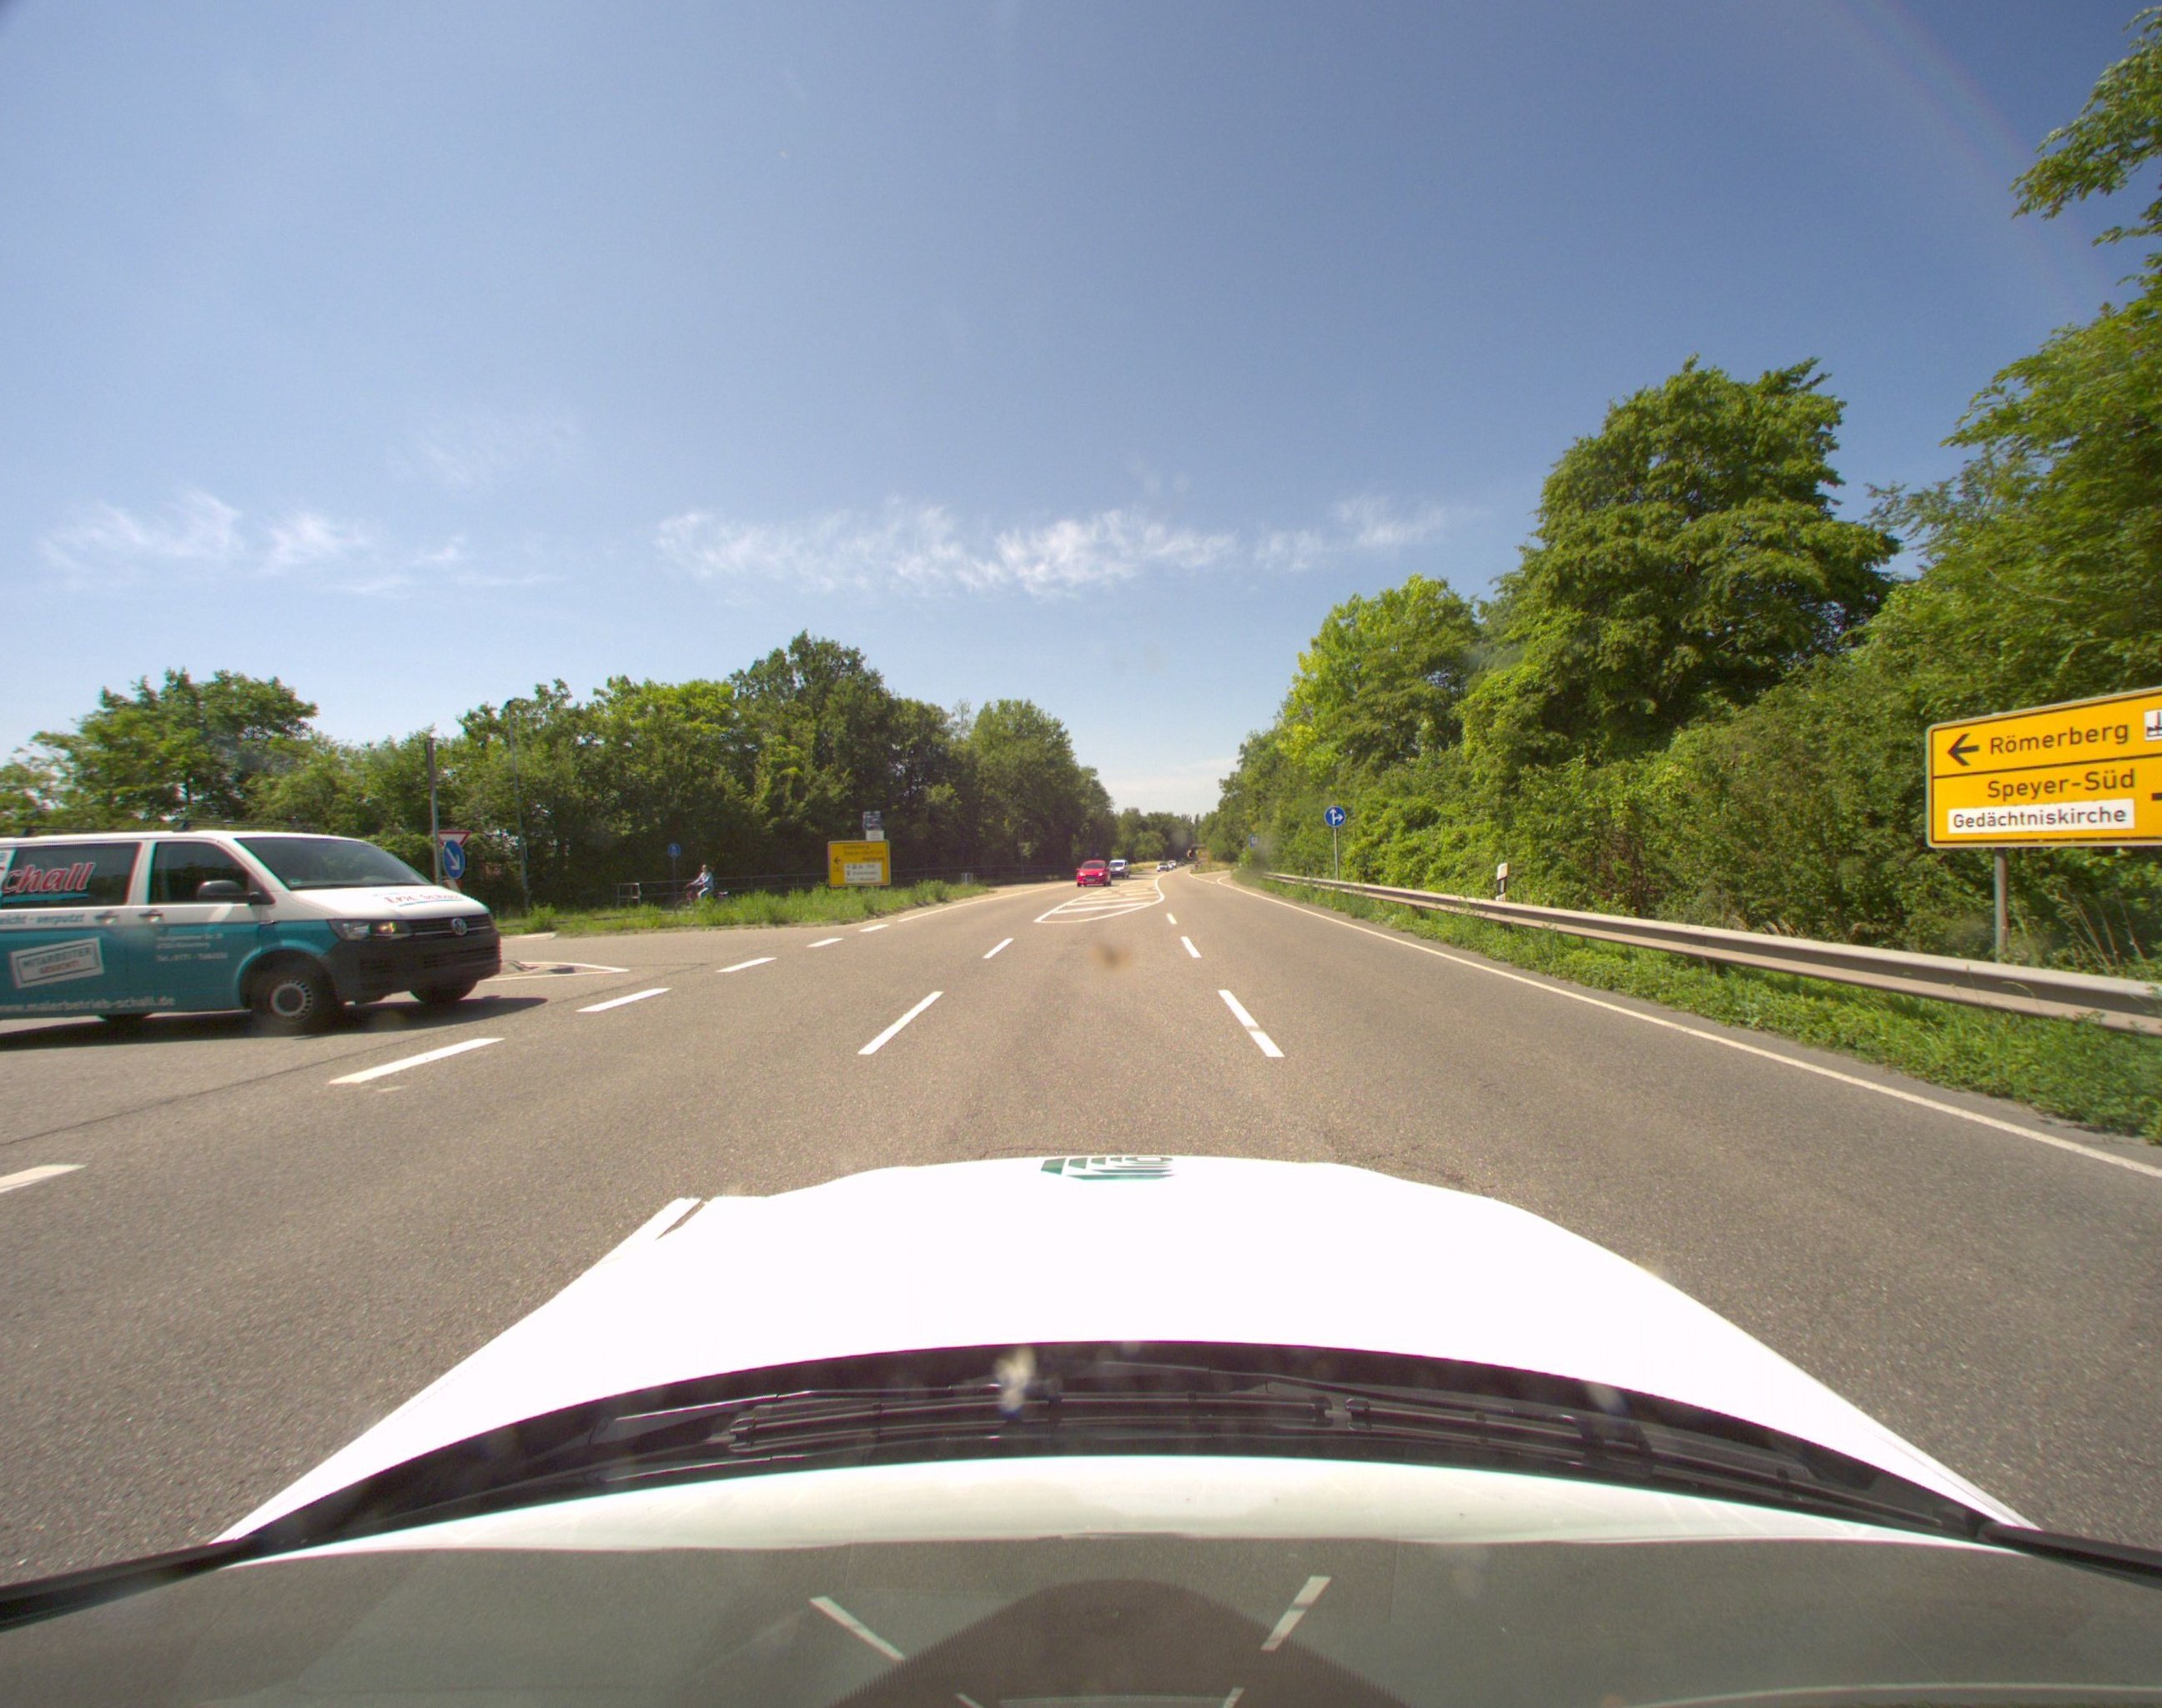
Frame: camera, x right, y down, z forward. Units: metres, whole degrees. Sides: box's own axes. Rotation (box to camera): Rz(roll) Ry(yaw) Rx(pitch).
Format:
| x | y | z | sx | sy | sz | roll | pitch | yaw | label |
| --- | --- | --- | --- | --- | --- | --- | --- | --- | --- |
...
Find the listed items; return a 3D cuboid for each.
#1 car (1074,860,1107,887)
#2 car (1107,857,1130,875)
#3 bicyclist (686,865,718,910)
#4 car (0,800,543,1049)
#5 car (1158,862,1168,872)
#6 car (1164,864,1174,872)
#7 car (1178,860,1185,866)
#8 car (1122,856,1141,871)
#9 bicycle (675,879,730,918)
| x | y | z | sx | sy | sz | roll | pitch | yaw | label |
| --- | --- | --- | --- | --- | --- | --- | --- | --- | --- |
| 0.612 | 1.072 | 46.967 | 1.803 | 1.458 | 3.759 | -1 | 0 | 2 | car |
| 3.785 | 1.175 | 81.959 | 1.984 | 1.730 | 4.281 | -2 | 0 | 6 | car |
| -11.604 | 1.026 | 24.959 | 0.681 | 1.363 | 0.613 | -2 | -1 | 36 | bicyclist |
| -8.761 | 0.671 | 8.245 | 5.155 | 2.027 | 1.999 | -3 | 0 | -1 | car |
| 14.705 | 2.309 | 146.027 | 1.668 | 1.527 | 4.009 | -2 | 0 | 8 | car |
| 17.425 | 2.779 | 161.333 | 1.667 | 1.527 | 4.011 | -2 | 0 | 10 | car |
| 27.640 | 2.557 | 223.493 | 1.710 | 1.509 | 3.718 | -2 | 0 | 9 | car |
| 11.122 | 2.085 | 178.701 | 2.004 | 3.226 | 4.767 | -1 | 0 | -26 | car |
| -11.593 | 1.357 | 24.947 | 0.431 | 1.113 | 1.491 | -2 | -1 | 36 | bicycle |
